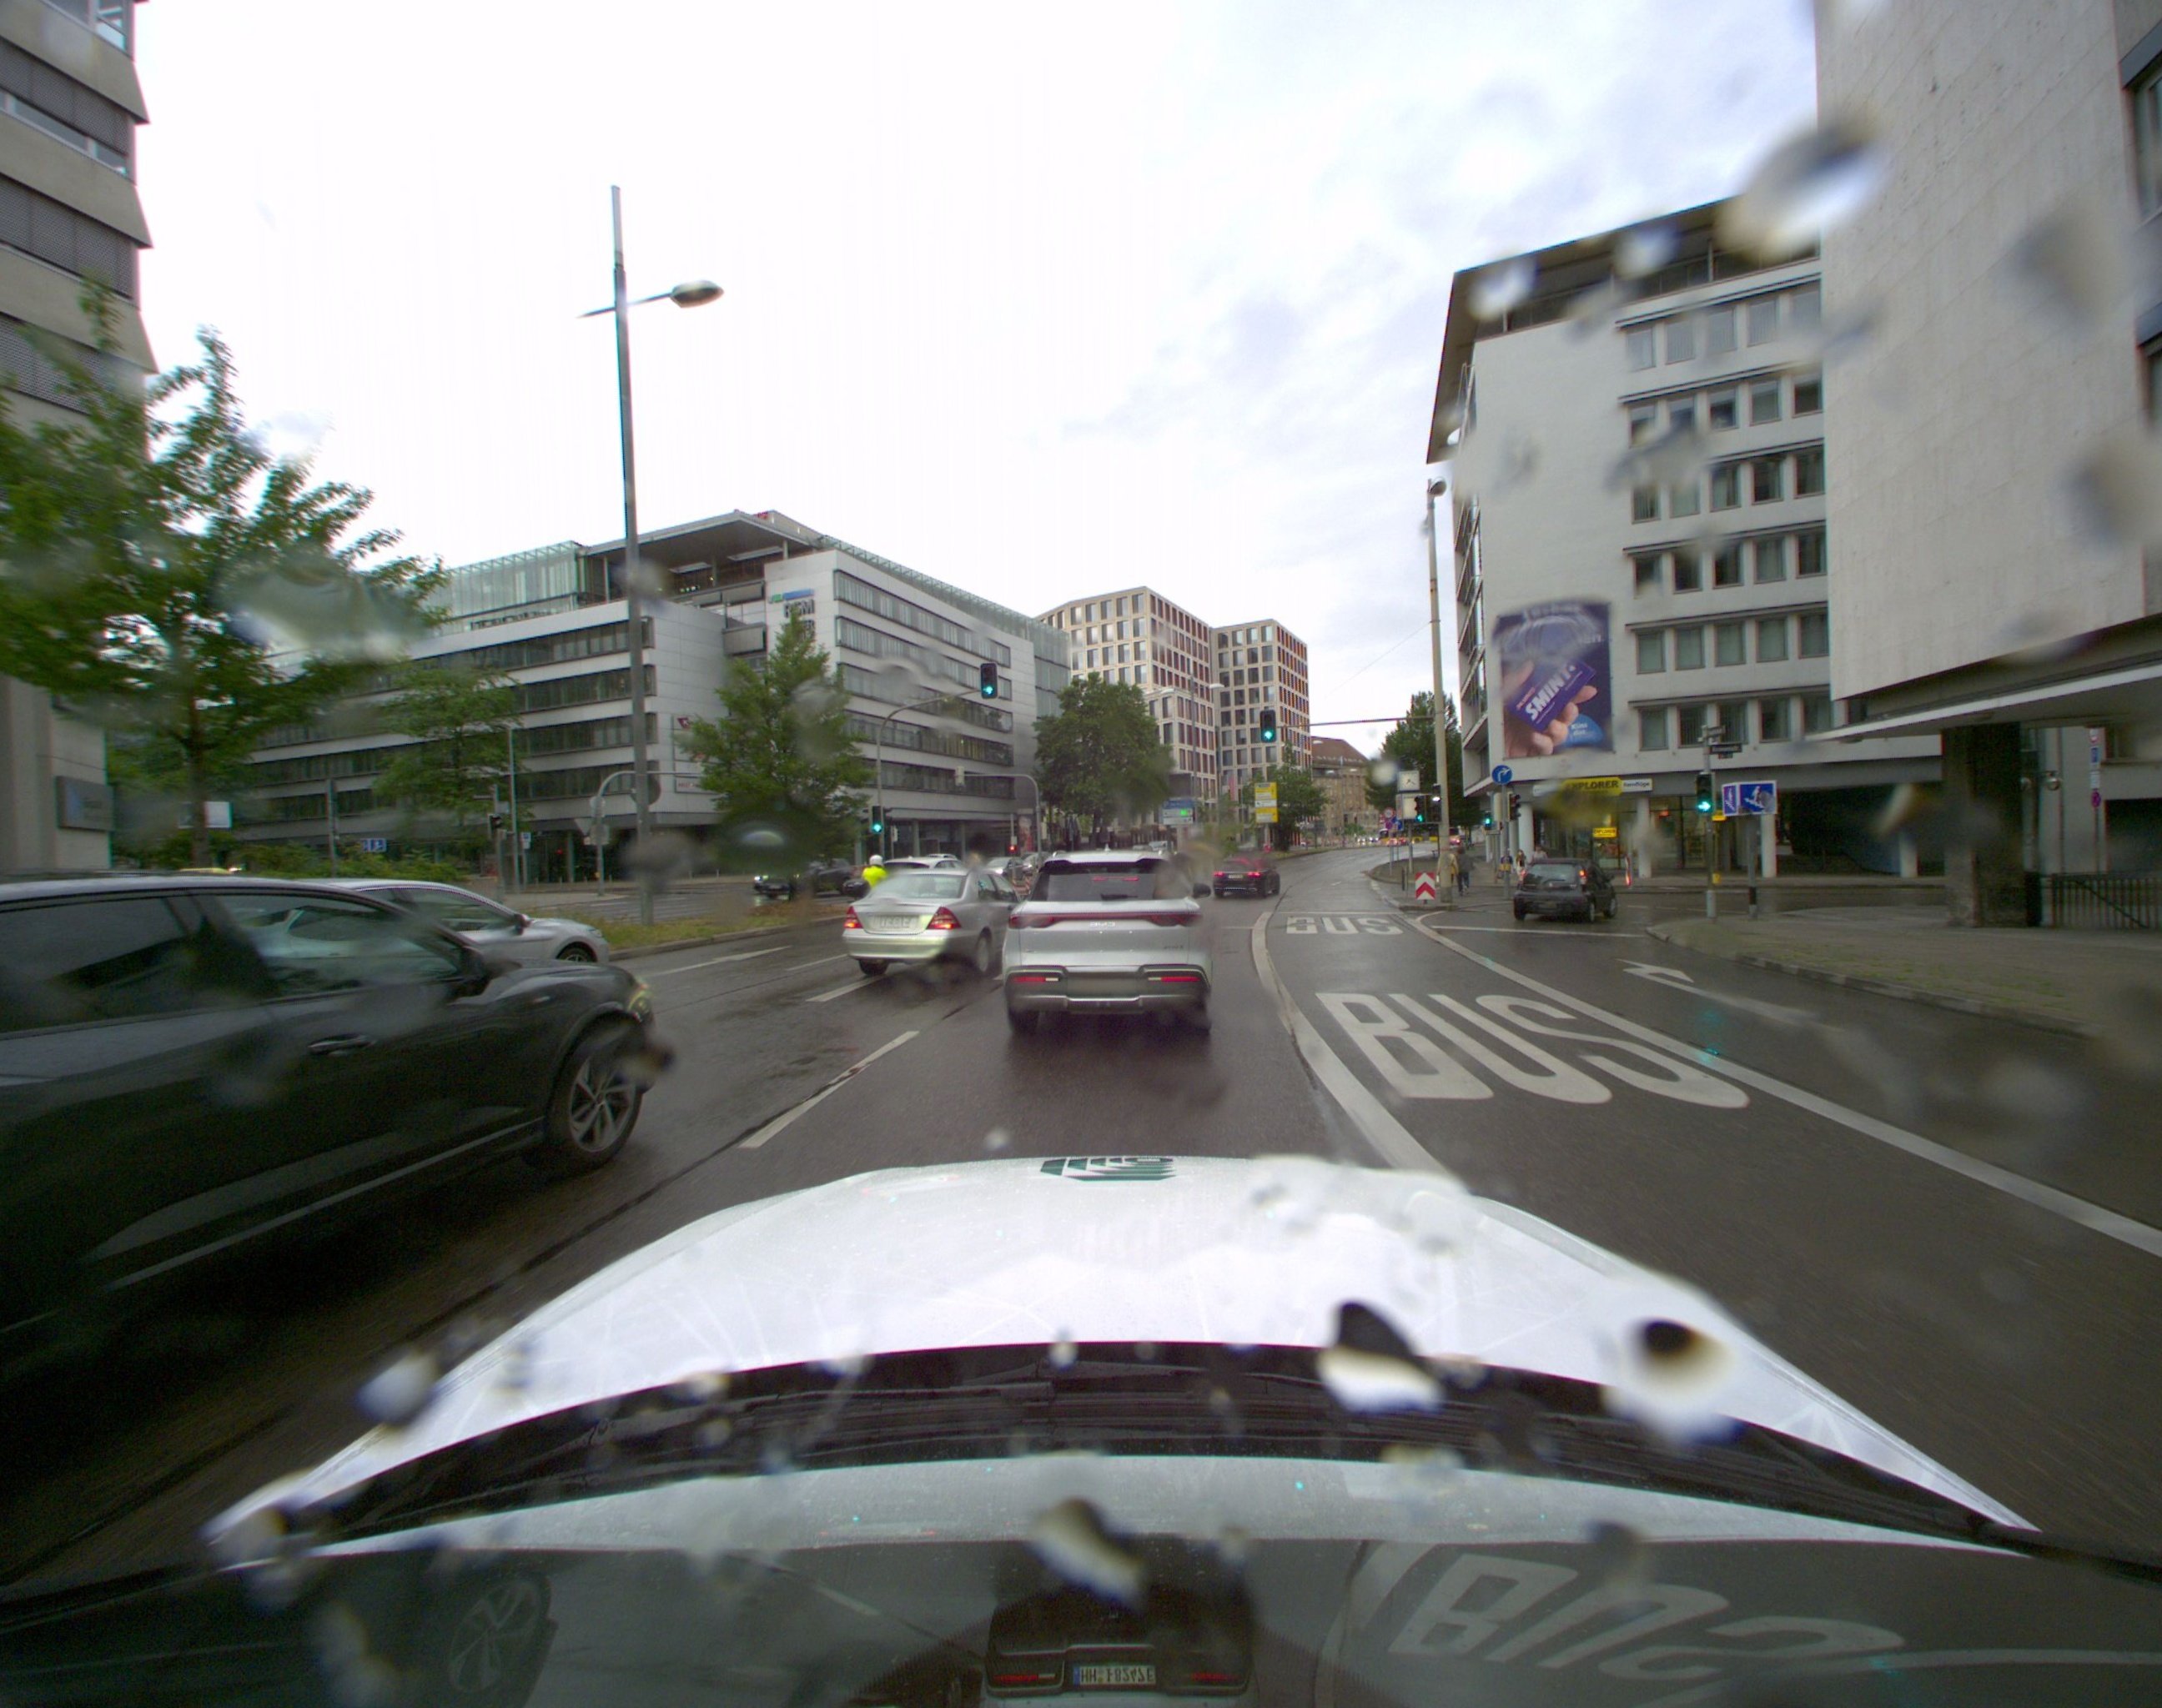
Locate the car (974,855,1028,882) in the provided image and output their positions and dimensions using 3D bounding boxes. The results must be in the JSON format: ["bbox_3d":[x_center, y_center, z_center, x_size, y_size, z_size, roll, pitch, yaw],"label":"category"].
[{"bbox_3d":[-4.330,0.789,44.698,1.677,1.385,3.884,-1,-1,15],"label":"car"}]

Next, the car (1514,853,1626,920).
[{"bbox_3d":[11.750,0.716,19.456,1.556,1.429,4.024,-2,-1,41],"label":"car"}]

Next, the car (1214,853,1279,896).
[{"bbox_3d":[6.216,0.753,30.266,1.679,1.486,4.021,-1,-1,22],"label":"car"}]

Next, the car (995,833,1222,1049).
[{"bbox_3d":[0.406,0.710,8.398,1.767,1.679,4.006,-1,-1,6],"label":"car"}]

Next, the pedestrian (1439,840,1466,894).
[{"bbox_3d":[12.813,0.440,28.123,0.742,1.798,0.821,-2,0,21],"label":"pedestrian"}]

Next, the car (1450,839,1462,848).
[{"bbox_3d":[68.288,-1.893,148.279,1.677,1.486,4.025,-1,-1,31],"label":"car"}]

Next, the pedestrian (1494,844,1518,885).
[{"bbox_3d":[17.354,0.428,33.260,0.662,1.655,0.657,-1,-1,44],"label":"pedestrian"}]

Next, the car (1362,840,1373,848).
[{"bbox_3d":[71.775,-2.553,204.062,1.975,2.013,4.024,-1,0,28],"label":"car"}]

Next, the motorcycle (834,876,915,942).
[{"bbox_3d":[-4.035,1.050,16.102,0.795,1.185,2.034,-1,-1,10],"label":"motorcycle"}]

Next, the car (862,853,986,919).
[{"bbox_3d":[-3.832,0.766,20.597,1.696,1.486,4.011,-1,-1,11],"label":"car"}]

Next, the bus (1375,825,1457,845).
[{"bbox_3d":[76.127,-4.264,185.518,16.804,4.063,4.464,-1,-1,28],"label":"bus"}]

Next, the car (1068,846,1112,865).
[{"bbox_3d":[0.838,0.109,72.237,1.797,1.510,5.226,-2,0,25],"label":"car"}]

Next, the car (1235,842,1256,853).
[{"bbox_3d":[24.440,-0.922,121.070,1.975,1.488,4.025,-2,0,28],"label":"car"}]

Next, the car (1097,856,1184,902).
[{"bbox_3d":[2.189,0.853,28.946,1.556,1.486,4.024,-1,-1,29],"label":"car"}]

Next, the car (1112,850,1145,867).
[{"bbox_3d":[4.720,0.404,79.601,1.617,1.559,4.619,-2,0,25],"label":"car"}]

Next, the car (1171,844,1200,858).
[{"bbox_3d":[11.899,-0.364,92.585,1.975,1.488,4.025,-2,0,28],"label":"car"}]

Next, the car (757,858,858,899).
[{"bbox_3d":[-11.192,0.981,33.638,1.629,1.536,4.174,-1,0,21],"label":"car"}]

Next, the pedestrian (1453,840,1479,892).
[{"bbox_3d":[13.665,0.425,28.904,0.742,1.798,0.821,-2,0,21],"label":"pedestrian"}]

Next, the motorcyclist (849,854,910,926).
[{"bbox_3d":[-4.005,0.694,16.256,0.765,1.380,1.121,-1,-1,11],"label":"motorcyclist"}]

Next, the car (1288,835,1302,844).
[{"bbox_3d":[42.508,-2.852,161.771,1.590,1.741,3.466,-1,-1,33],"label":"car"}]

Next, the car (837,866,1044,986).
[{"bbox_3d":[-1.804,0.899,11.834,1.560,1.407,4.122,-1,-1,11],"label":"car"}]

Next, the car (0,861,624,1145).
[{"bbox_3d":[-6.428,0.854,6.990,1.855,1.533,4.787,-1,0,7],"label":"car"}]

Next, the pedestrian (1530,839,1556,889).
[{"bbox_3d":[17.167,0.366,30.255,0.662,1.794,0.778,-1,-1,44],"label":"pedestrian"}]

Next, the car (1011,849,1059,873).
[{"bbox_3d":[-3.100,0.453,55.889,1.629,1.581,4.108,-1,0,23],"label":"car"}]

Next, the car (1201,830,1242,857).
[{"bbox_3d":[10.986,-0.777,63.323,1.976,2.014,4.876,-1,-1,24],"label":"car"}]

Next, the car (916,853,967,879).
[{"bbox_3d":[-8.838,0.785,51.853,1.625,1.571,3.736,-1,-1,18],"label":"car"}]

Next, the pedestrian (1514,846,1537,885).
[{"bbox_3d":[17.971,0.468,32.927,0.618,1.543,0.657,-1,-1,44],"label":"pedestrian"}]

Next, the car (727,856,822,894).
[{"bbox_3d":[-14.268,0.934,38.175,1.976,1.610,4.021,0,1,21],"label":"car"}]

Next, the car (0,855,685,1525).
[{"bbox_3d":[-3.258,0.774,2.746,1.642,1.521,4.273,-1,0,2],"label":"car"}]

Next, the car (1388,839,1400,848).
[{"bbox_3d":[57.755,-1.973,150.211,1.871,1.643,4.022,-1,0,23],"label":"car"}]
